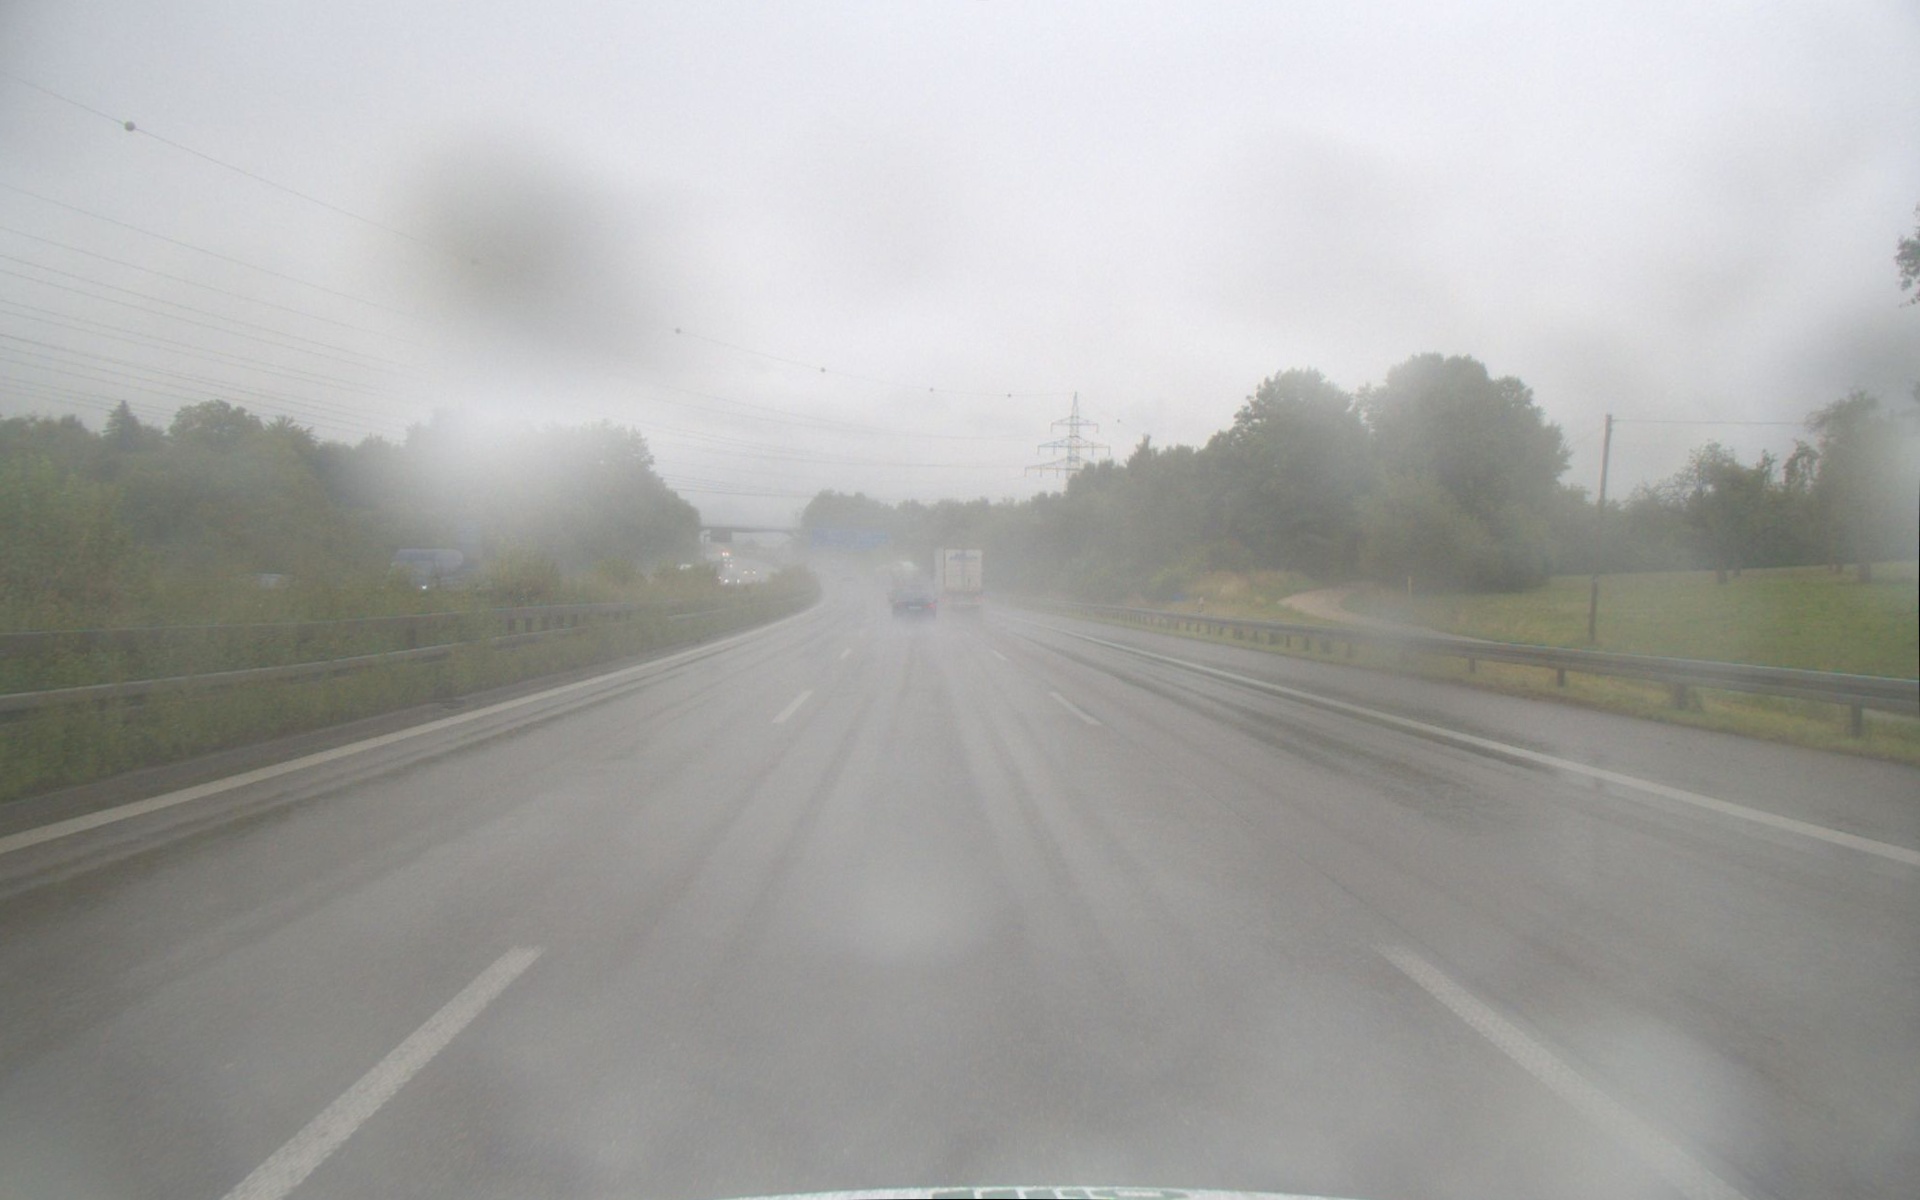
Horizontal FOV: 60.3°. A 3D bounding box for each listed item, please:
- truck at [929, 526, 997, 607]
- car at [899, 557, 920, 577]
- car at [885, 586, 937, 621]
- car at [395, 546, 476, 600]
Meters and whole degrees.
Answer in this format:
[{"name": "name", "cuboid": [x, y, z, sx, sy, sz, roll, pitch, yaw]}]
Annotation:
[{"name": "truck", "cuboid": [0.392, -2.259, 112.860, 4.168, 5.058, 17.346, 0, 1, 2]}, {"name": "car", "cuboid": [-6.088, -4.004, 199.602, 2.346, 2.312, 4.999, 2, 1, -4]}, {"name": "car", "cuboid": [-1.939, 0.115, 65.900, 1.712, 1.233, 4.001, 3, 1, 2]}, {"name": "car", "cuboid": [-21.852, -1.102, 69.057, 1.783, 2.048, 4.834, 4, 1, -1]}]
